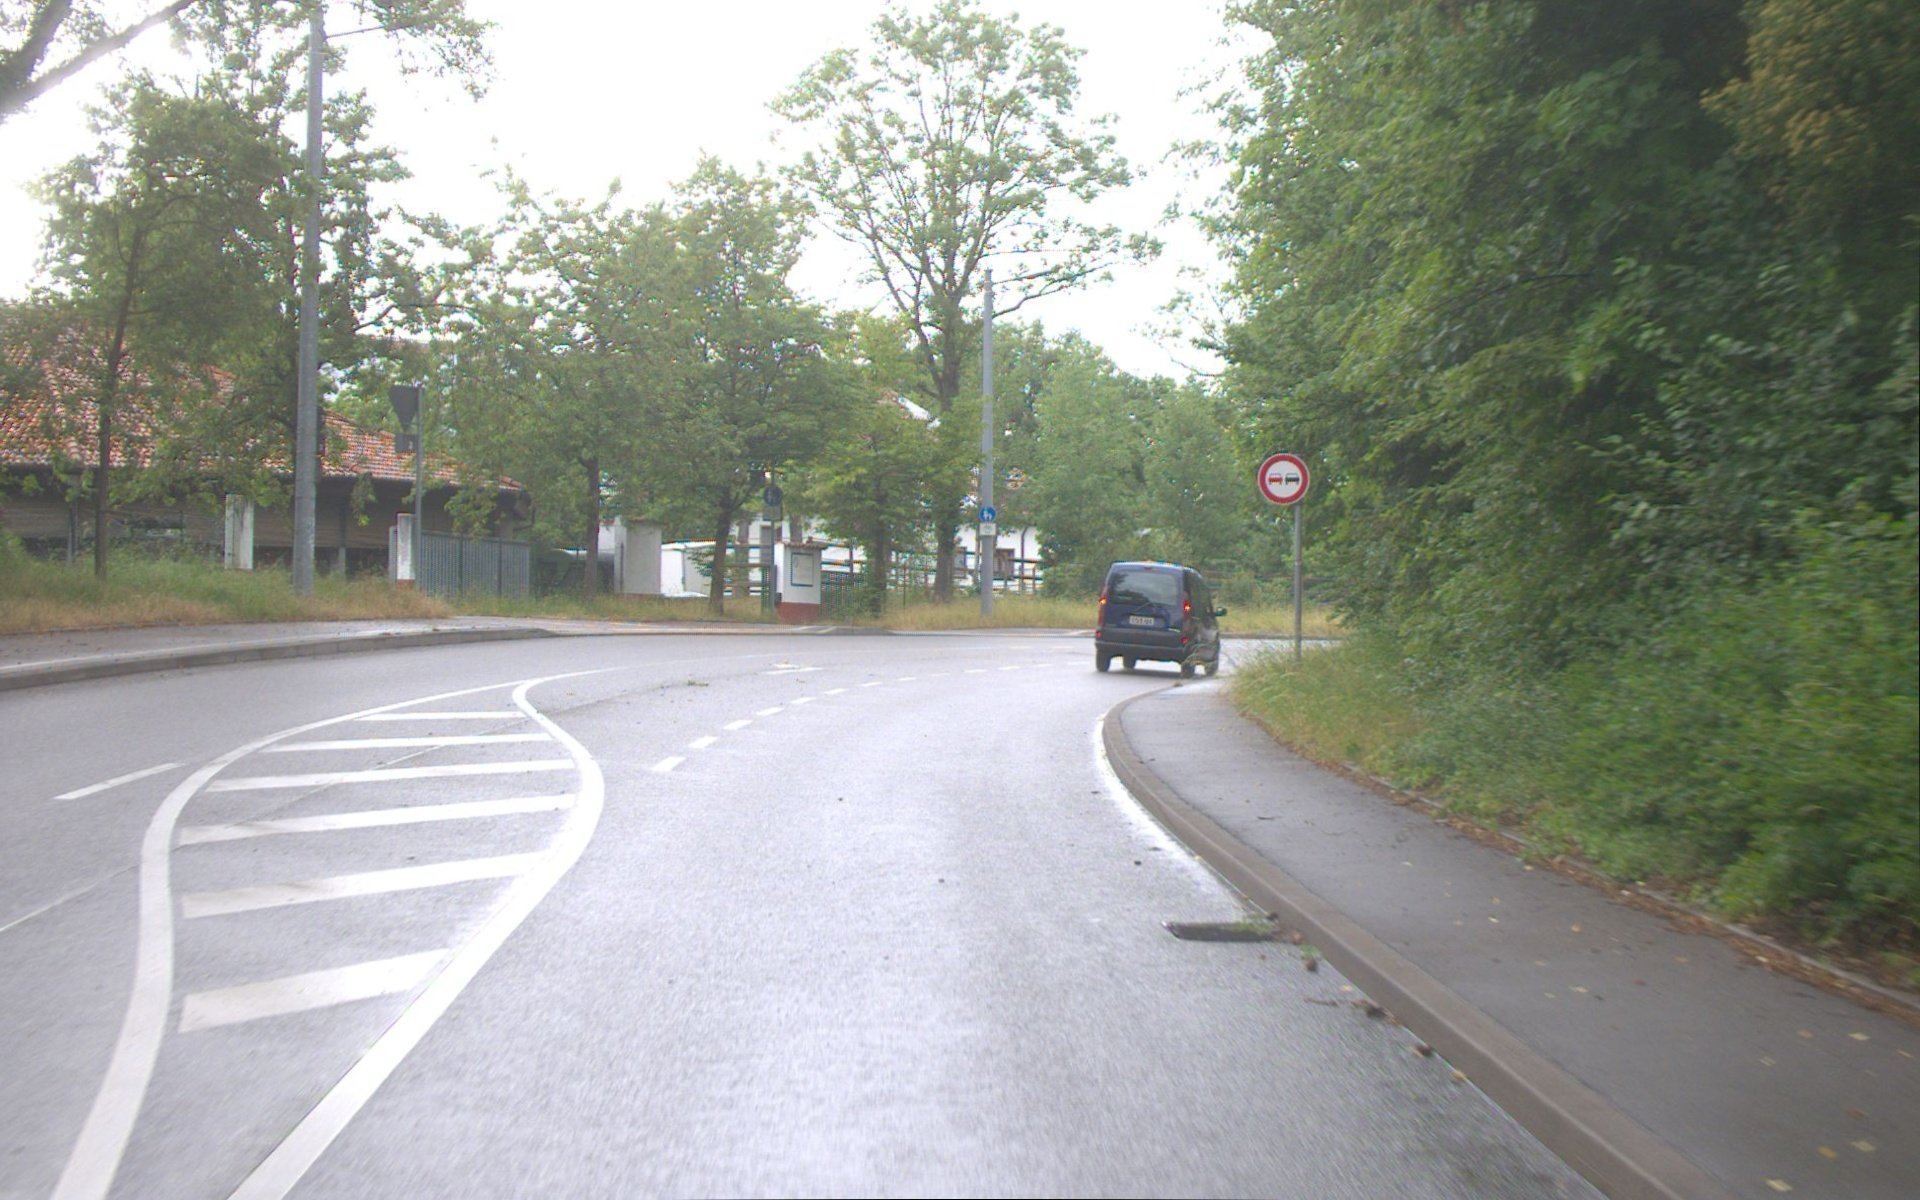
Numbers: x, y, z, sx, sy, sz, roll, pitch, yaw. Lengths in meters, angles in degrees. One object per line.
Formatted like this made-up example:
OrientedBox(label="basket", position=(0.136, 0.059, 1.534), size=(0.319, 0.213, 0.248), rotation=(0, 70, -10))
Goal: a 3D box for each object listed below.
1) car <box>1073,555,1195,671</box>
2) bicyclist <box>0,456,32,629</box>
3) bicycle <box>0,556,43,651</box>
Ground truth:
OrientedBox(label="car", position=(2.933, 0.256, 57.345), size=(1.827, 1.788, 3.999), rotation=(-2, -2, 5))
OrientedBox(label="bicyclist", position=(-8.861, -0.529, 31.416), size=(0.336, 1.569, 1.298), rotation=(2, 1, 2))
OrientedBox(label="bicycle", position=(-8.874, 0.033, 31.391), size=(0.355, 0.846, 2.093), rotation=(2, 1, 2))
